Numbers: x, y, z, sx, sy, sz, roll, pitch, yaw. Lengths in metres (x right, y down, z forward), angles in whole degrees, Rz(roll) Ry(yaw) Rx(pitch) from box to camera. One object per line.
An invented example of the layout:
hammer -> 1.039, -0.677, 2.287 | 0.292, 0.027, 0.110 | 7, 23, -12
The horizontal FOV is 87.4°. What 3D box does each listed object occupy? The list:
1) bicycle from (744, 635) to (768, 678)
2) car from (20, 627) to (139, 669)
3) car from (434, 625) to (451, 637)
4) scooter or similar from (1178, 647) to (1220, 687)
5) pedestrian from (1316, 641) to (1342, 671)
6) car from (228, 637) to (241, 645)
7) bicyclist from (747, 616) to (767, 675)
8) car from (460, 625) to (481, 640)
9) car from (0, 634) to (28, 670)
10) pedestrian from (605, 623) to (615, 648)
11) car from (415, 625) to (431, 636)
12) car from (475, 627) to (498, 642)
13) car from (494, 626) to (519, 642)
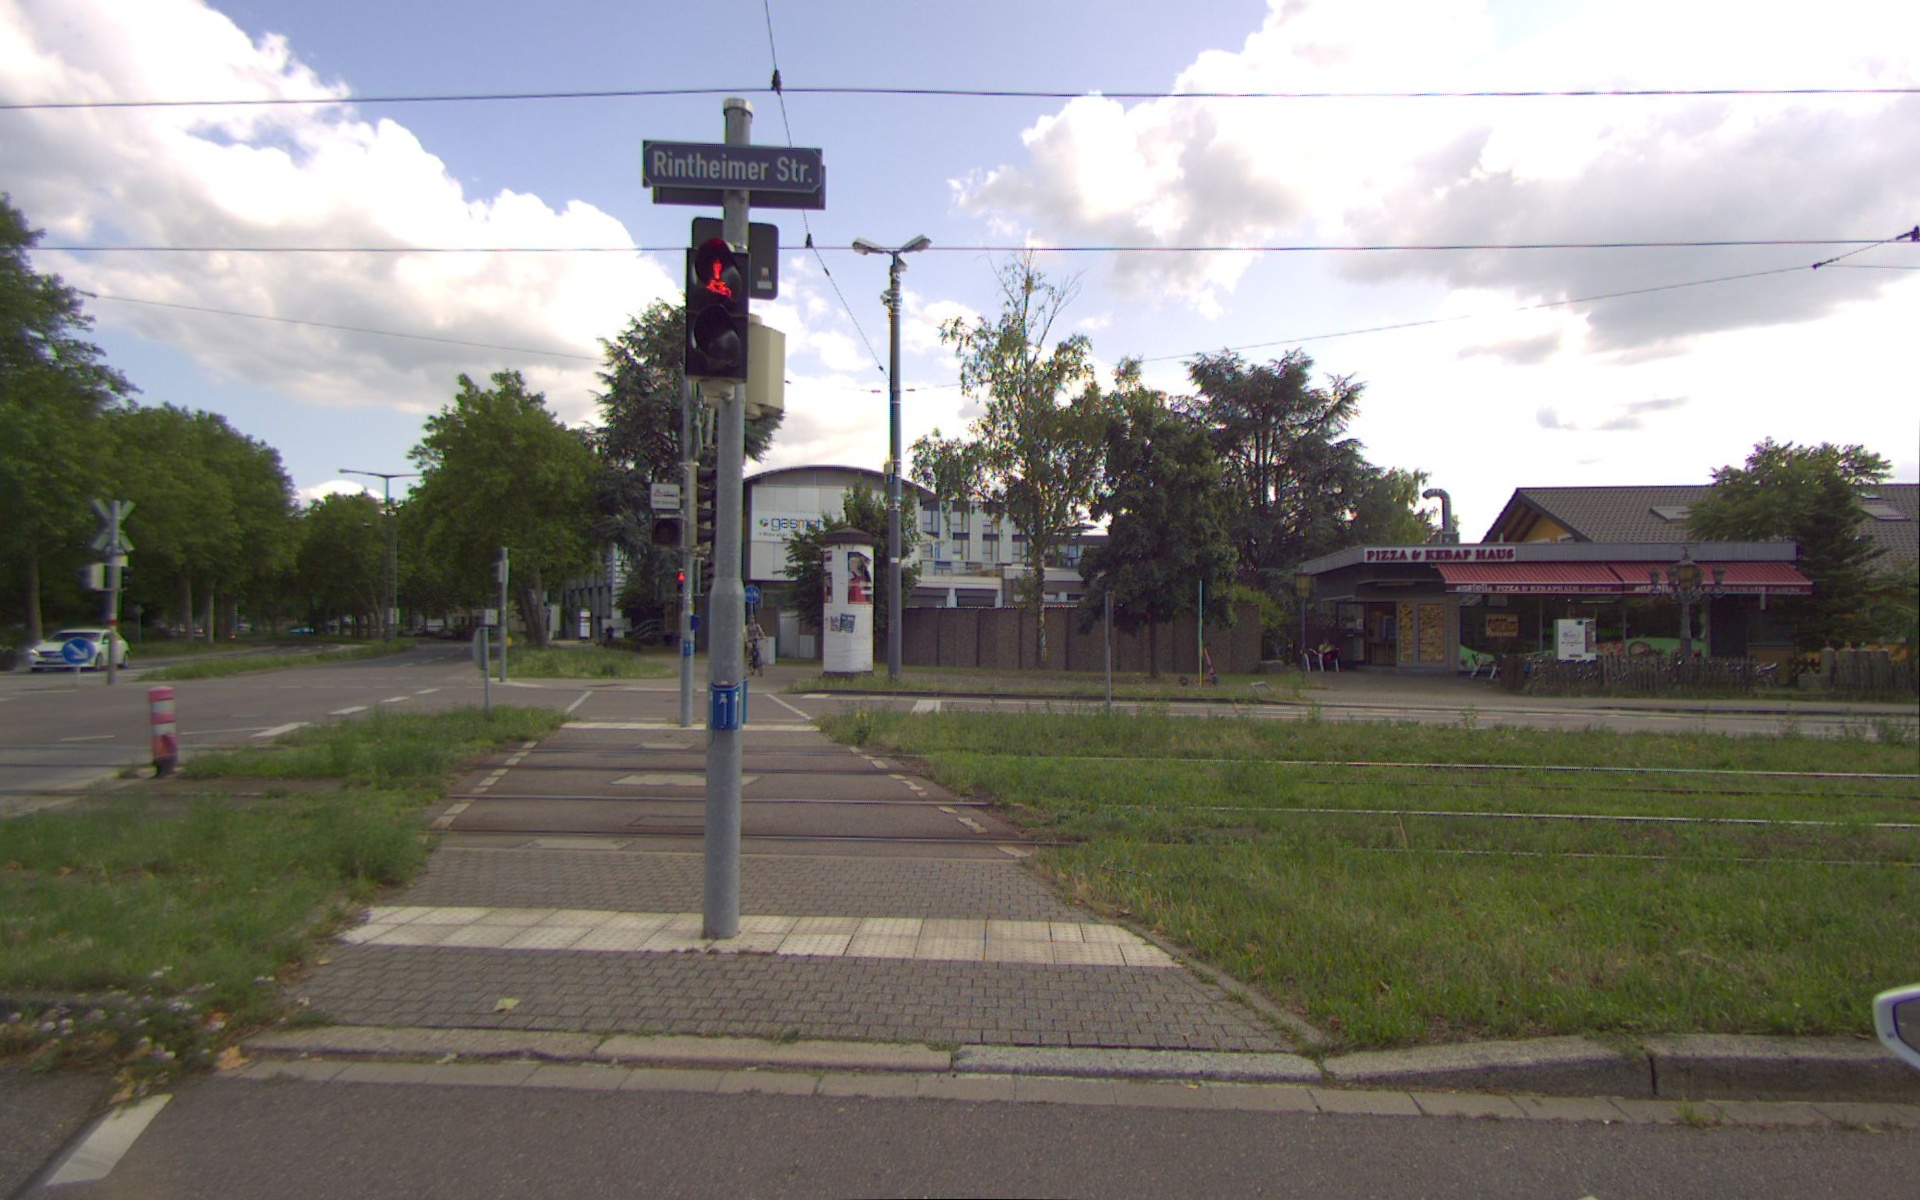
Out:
bicycle -> -6.424, 1.764, 31.722 | 0.531, 1.252, 1.950 | 1, 0, -6
car -> -30.647, 1.636, 35.115 | 1.804, 1.382, 4.117 | 1, -2, -21
car -> -75.179, 4.471, 145.816 | 1.977, 1.595, 3.966 | 1, 0, -31
scooter or similar -> 6.731, 1.880, 28.307 | 1.083, 1.073, 0.402 | 1, 1, 23
pedestrian -> 12.120, 1.840, 33.002 | 0.712, 0.941, 0.777 | 1, 0, 13
car -> -114.044, 6.513, 157.974 | 1.624, 1.207, 3.671 | 2, -2, -36
bicyclist -> -6.414, 1.442, 31.726 | 0.531, 1.834, 0.544 | 1, 1, -7
car -> -60.535, 3.999, 124.193 | 1.977, 1.595, 3.966 | 1, 0, -31
car -> -33.320, 1.744, 33.470 | 1.611, 1.207, 3.700 | 1, -2, -13
pedestrian -> -22.475, 2.269, 64.460 | 0.613, 1.590, 0.556 | 1, 1, -20
car -> -83.706, 4.766, 156.443 | 1.977, 1.595, 3.966 | 1, 0, -31
car -> -55.423, 4.002, 117.574 | 1.977, 1.595, 3.966 | 1, 0, -31
car -> -48.797, 3.661, 108.018 | 1.977, 1.595, 3.966 | 1, 0, -31
